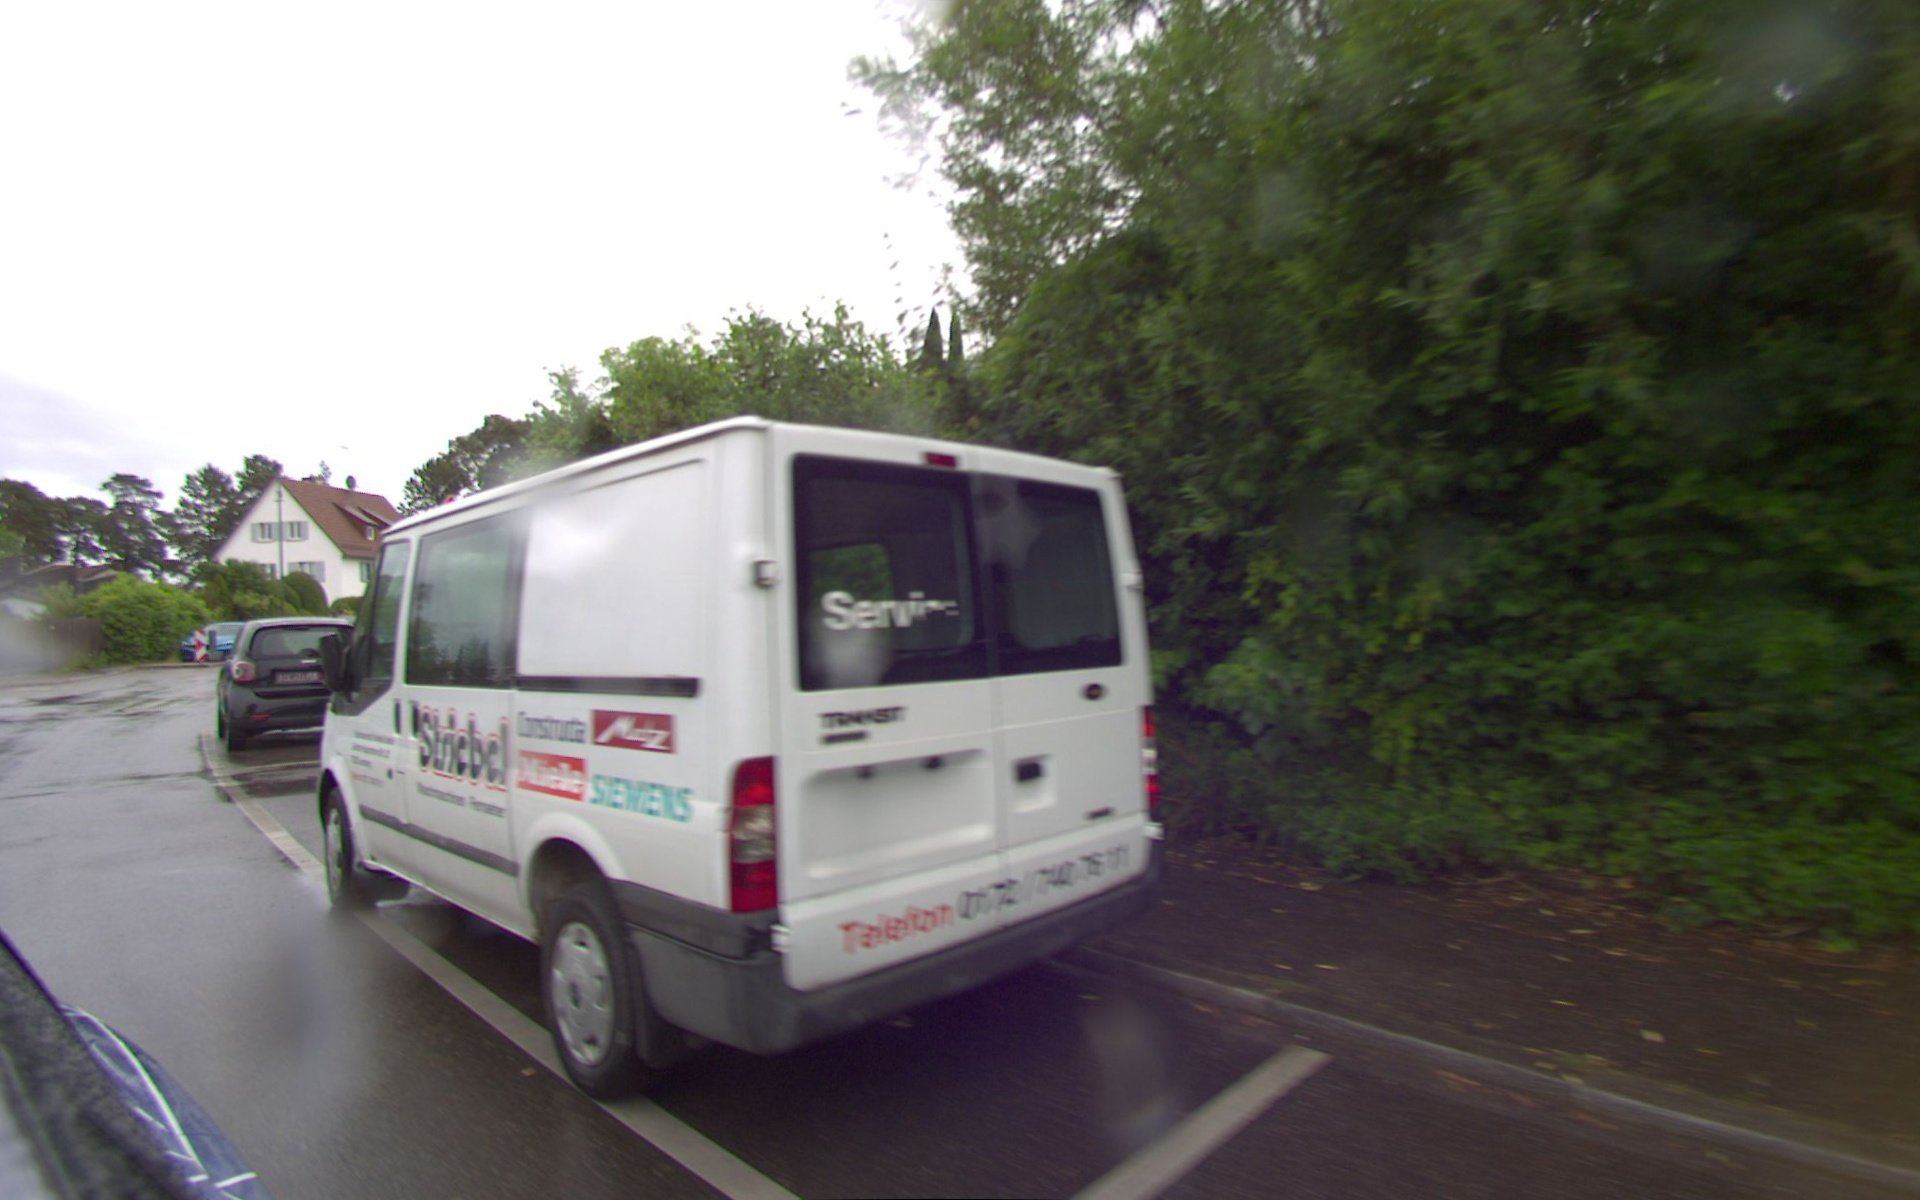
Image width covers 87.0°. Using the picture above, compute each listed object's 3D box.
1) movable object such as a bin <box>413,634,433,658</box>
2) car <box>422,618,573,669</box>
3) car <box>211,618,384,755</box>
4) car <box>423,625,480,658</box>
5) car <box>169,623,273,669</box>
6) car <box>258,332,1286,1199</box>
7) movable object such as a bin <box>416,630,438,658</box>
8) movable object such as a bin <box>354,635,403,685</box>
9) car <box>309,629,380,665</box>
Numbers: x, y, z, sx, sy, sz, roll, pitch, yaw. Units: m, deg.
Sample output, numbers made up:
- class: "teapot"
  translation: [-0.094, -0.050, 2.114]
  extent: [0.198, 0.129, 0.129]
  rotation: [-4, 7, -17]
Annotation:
- class: "movable object such as a bin"
  translation: [-21.028, 1.801, 39.629]
  extent: [0.571, 0.946, 0.505]
  rotation: [0, -2, -14]
- class: "car"
  translation: [-14.196, 1.310, 31.267]
  extent: [3.935, 1.451, 1.772]
  rotation: [0, 0, -10]
- class: "car"
  translation: [-8.646, 1.022, 13.121]
  extent: [1.582, 1.523, 2.948]
  rotation: [0, -1, -39]
- class: "car"
  translation: [-27.374, 2.224, 54.624]
  extent: [1.903, 1.617, 4.355]
  rotation: [-1, -1, -15]
- class: "car"
  translation: [-27.179, 1.640, 37.368]
  extent: [1.770, 1.480, 4.228]
  rotation: [-2, 0, -17]
- class: "car"
  translation: [-1.424, 0.493, 4.683]
  extent: [5.175, 1.989, 2.087]
  rotation: [-2, -1, 45]
- class: "movable object such as a bin"
  translation: [-21.131, 1.745, 40.094]
  extent: [0.682, 1.100, 0.421]
  rotation: [0, -2, -14]
- class: "movable object such as a bin"
  translation: [-13.413, 1.377, 23.361]
  extent: [0.834, 1.076, 0.624]
  rotation: [-4, -1, -22]
- class: "car"
  translation: [-30.478, 2.293, 50.253]
  extent: [1.875, 1.553, 4.227]
  rotation: [-2, 0, -15]
